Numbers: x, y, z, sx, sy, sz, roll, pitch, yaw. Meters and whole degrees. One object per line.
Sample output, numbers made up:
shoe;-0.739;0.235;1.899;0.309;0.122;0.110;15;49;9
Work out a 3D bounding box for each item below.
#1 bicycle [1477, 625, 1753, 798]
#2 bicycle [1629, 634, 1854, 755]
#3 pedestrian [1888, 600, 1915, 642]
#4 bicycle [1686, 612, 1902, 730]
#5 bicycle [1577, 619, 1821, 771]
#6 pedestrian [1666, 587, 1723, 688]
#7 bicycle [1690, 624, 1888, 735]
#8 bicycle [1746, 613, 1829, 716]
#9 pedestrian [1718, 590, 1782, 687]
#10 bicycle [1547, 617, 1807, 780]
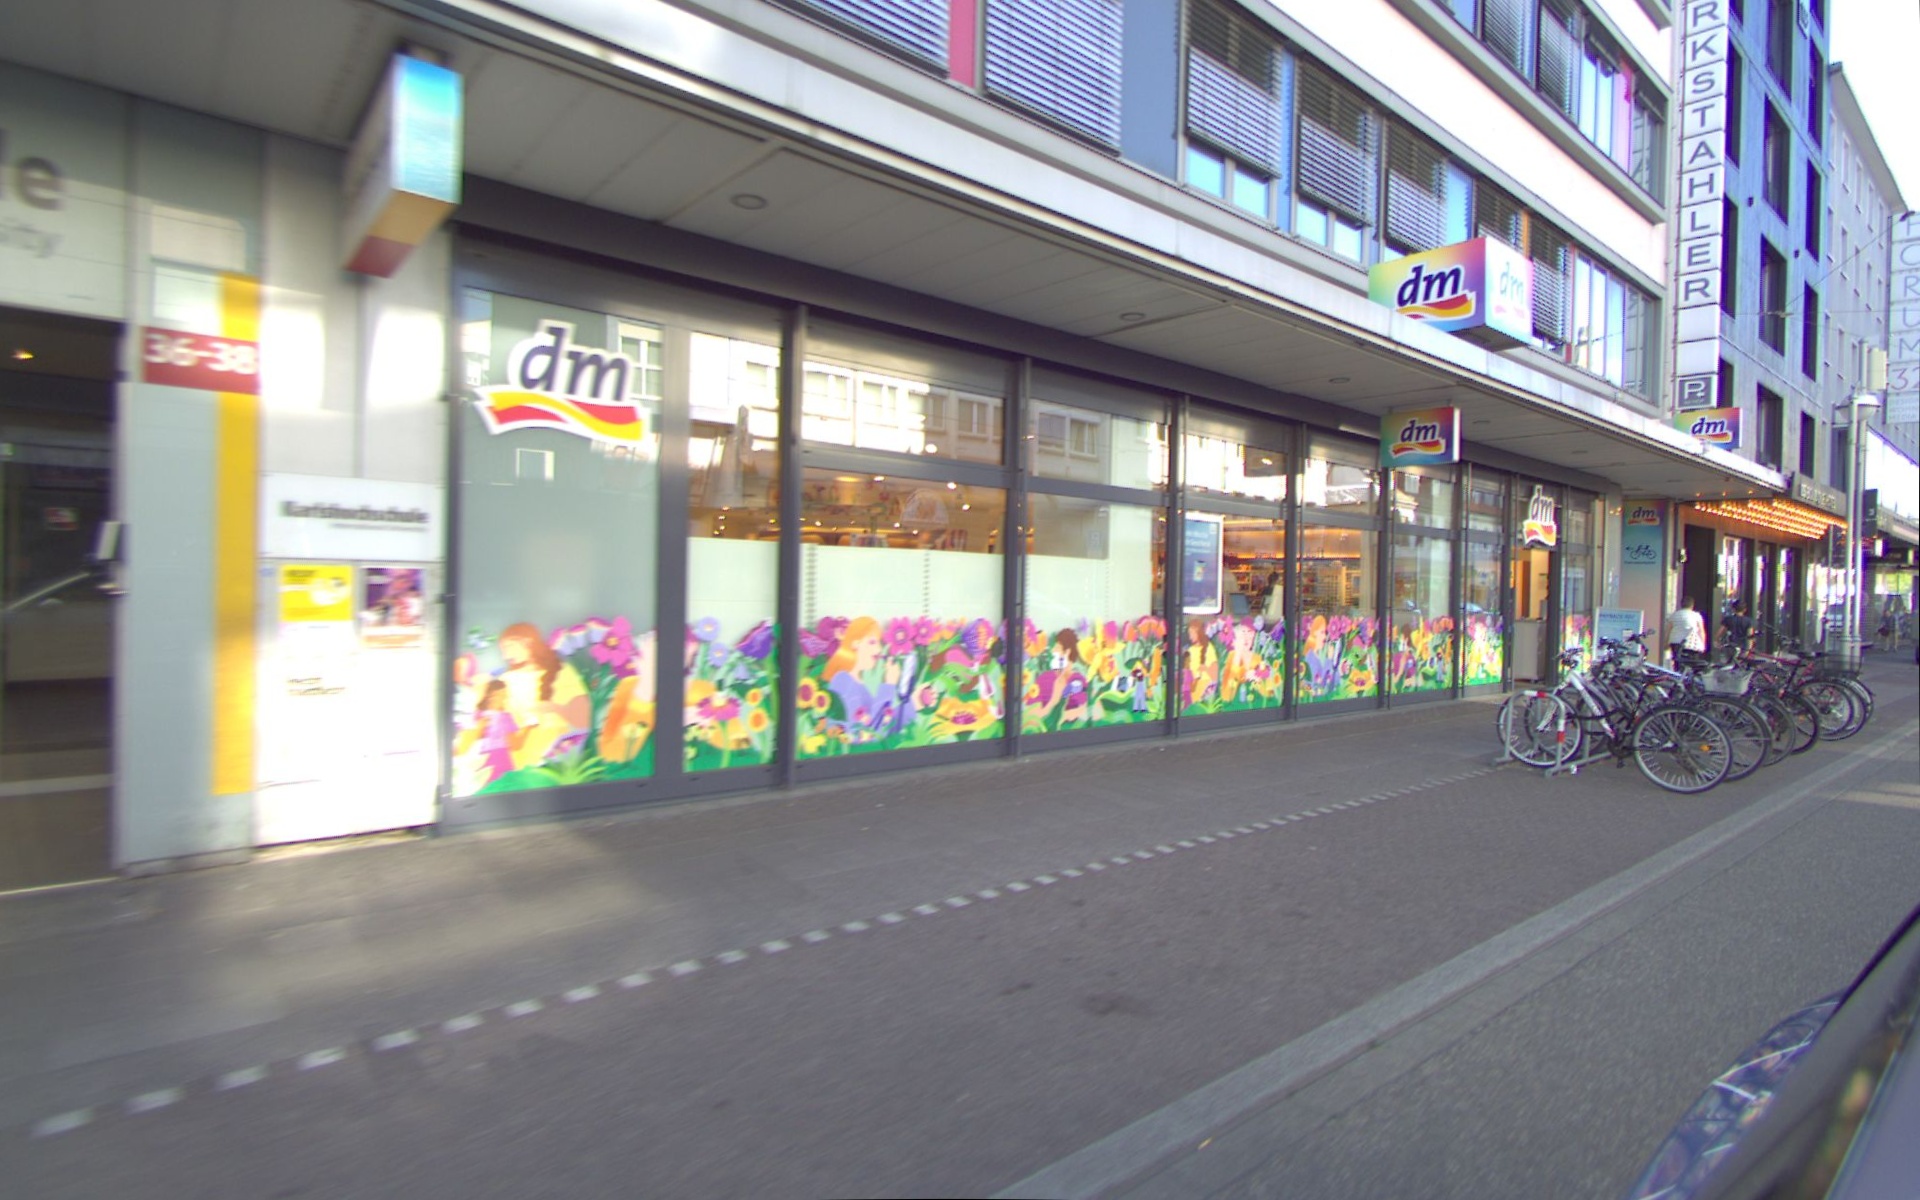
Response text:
bicycle;5.394;0.852;8.438;0.657;1.174;1.791;1;2;-40
bicycle;8.192;0.950;10.679;0.586;1.044;1.777;1;2;-40
pedestrian;33.763;0.735;36.291;0.718;1.457;0.577;0;3;-41
bicycle;10.441;0.846;12.754;2.034;1.290;0.517;3;1;41
bicycle;7.073;0.851;9.768;0.577;1.232;1.791;1;2;-40
pedestrian;12.206;0.605;16.818;0.587;1.605;0.582;0;3;-42
bicycle;9.918;0.913;12.165;0.471;1.145;1.774;1;2;-45
bicycle;11.186;0.834;13.670;1.574;1.272;0.582;0;3;-42
pedestrian;12.877;0.616;16.511;0.575;1.511;0.523;3;2;14
bicycle;6.457;0.823;9.196;0.657;1.232;1.791;1;2;-40
